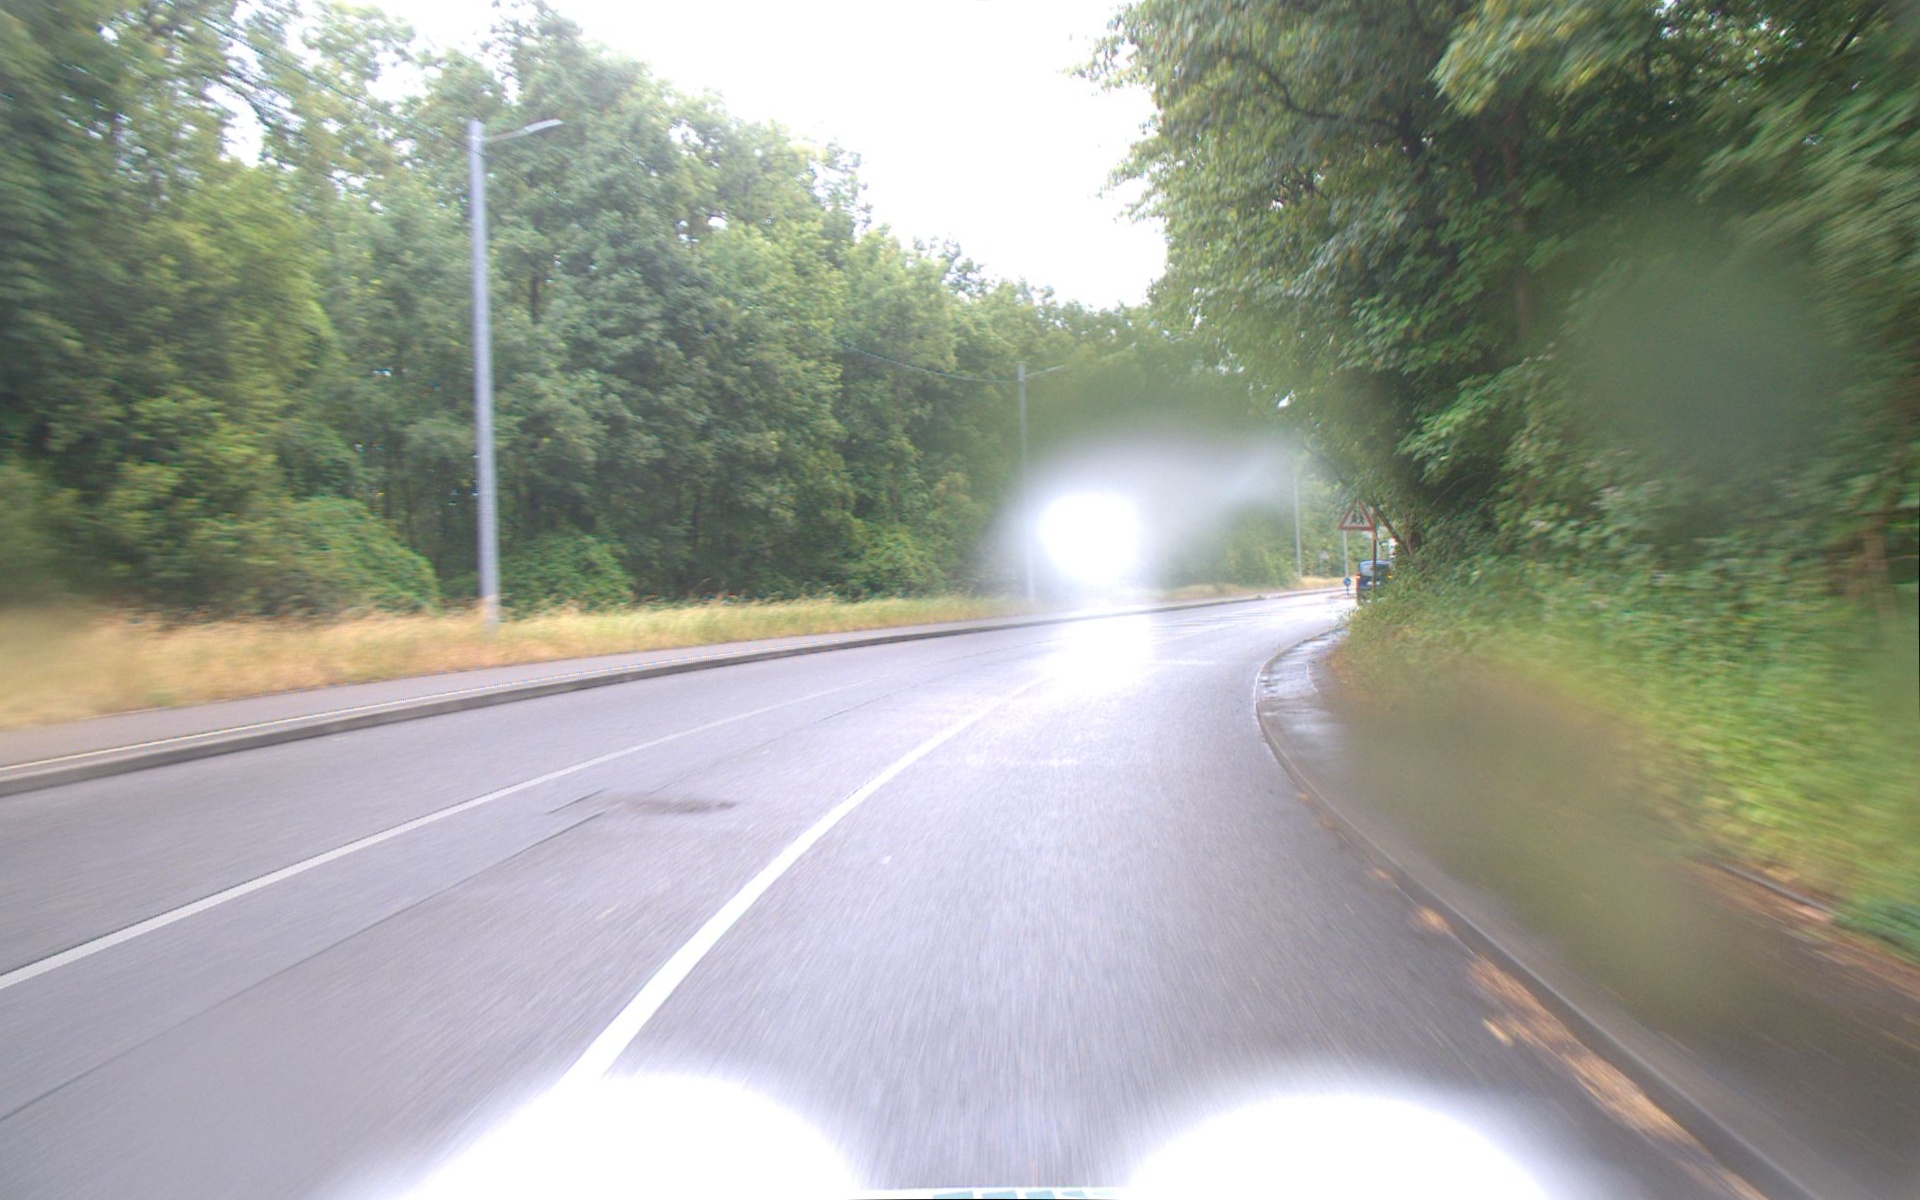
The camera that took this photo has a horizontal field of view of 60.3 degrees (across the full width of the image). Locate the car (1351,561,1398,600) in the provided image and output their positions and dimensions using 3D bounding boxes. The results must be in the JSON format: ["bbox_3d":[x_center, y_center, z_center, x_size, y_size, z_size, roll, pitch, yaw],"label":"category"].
[{"bbox_3d":[18.675,-0.894,74.506,1.633,1.621,3.684,-2,0,20],"label":"car"}]
